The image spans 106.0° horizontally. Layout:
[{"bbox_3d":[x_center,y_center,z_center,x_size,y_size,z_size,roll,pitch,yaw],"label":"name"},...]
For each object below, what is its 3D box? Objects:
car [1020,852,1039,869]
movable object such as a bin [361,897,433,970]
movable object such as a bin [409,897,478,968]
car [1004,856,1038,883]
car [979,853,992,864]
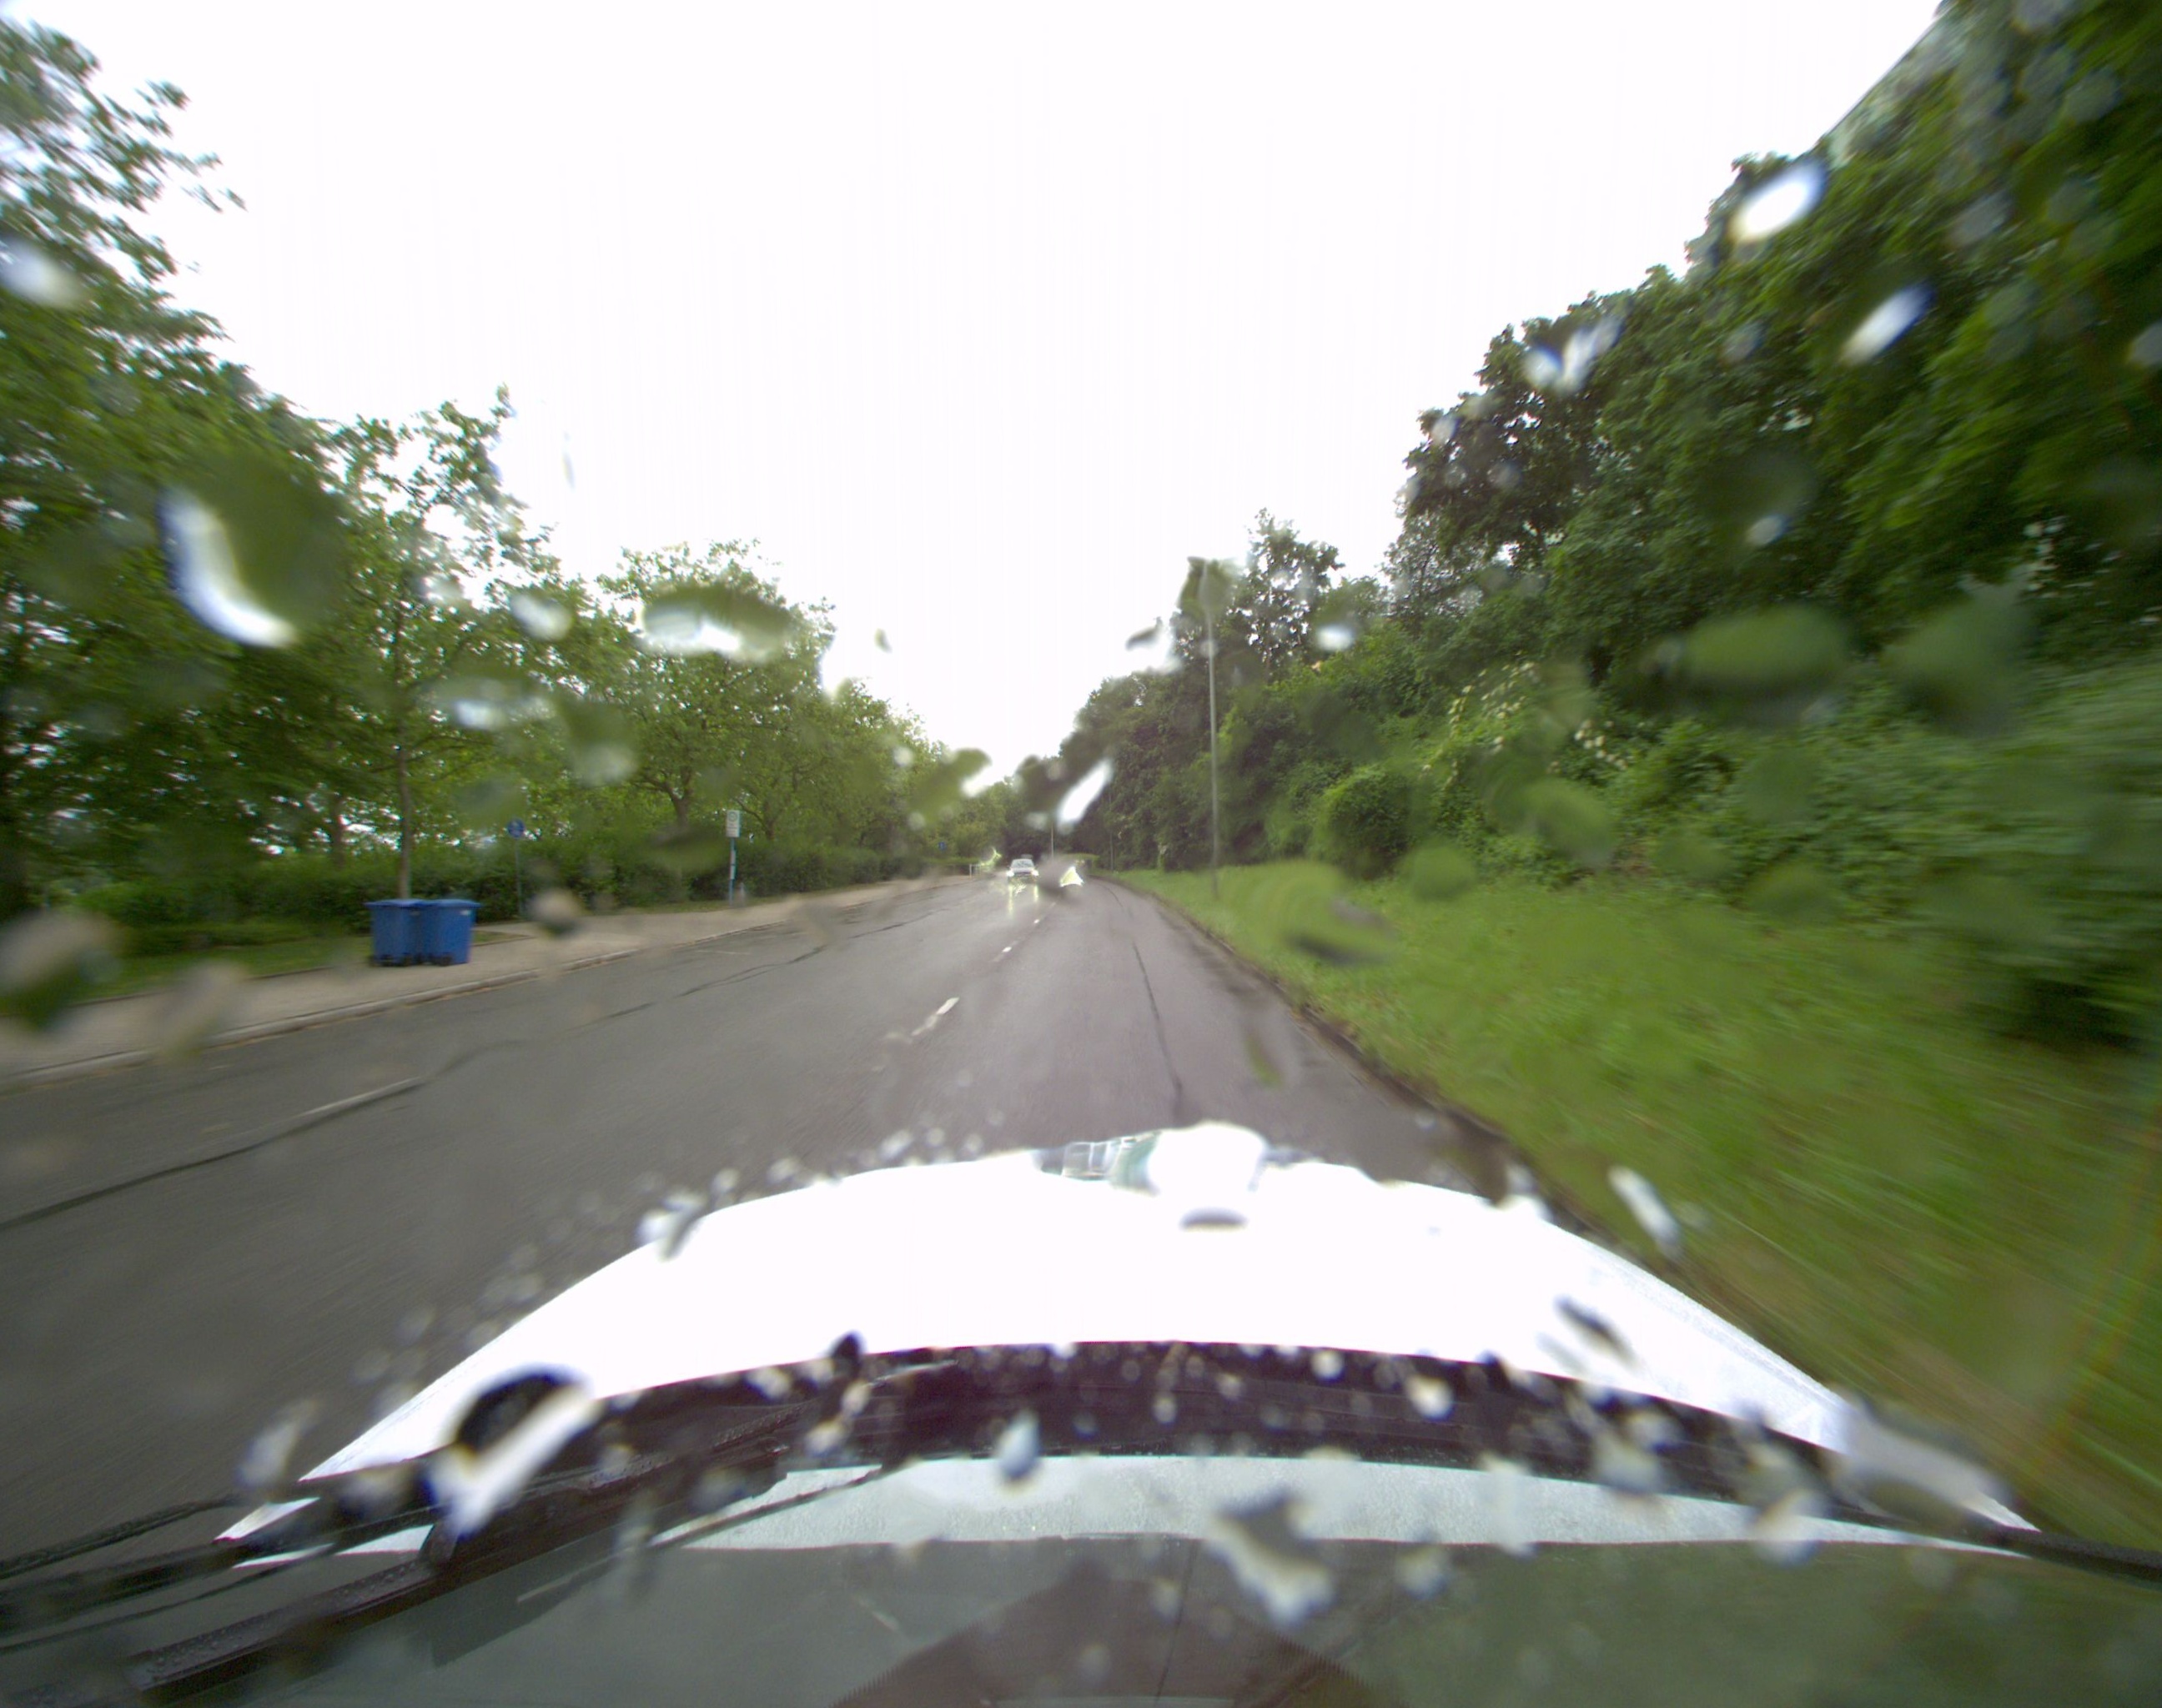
[{"bbox_3d":[-6.131,0.715,96.186,1.984,1.925,3.989,-1,0,-8],"label":"car"},{"bbox_3d":[-11.083,1.278,13.207,0.564,1.098,0.672,1,0,3],"label":"movable object such as a bin"},{"bbox_3d":[-10.473,1.278,13.399,0.564,1.098,0.672,1,0,3],"label":"movable object such as a bin"},{"bbox_3d":[-3.559,0.905,48.928,1.822,1.465,3.996,-3,0,-3],"label":"car"},{"bbox_3d":[-16.240,0.725,138.586,1.994,1.816,3.986,0,-1,-10],"label":"car"}]
